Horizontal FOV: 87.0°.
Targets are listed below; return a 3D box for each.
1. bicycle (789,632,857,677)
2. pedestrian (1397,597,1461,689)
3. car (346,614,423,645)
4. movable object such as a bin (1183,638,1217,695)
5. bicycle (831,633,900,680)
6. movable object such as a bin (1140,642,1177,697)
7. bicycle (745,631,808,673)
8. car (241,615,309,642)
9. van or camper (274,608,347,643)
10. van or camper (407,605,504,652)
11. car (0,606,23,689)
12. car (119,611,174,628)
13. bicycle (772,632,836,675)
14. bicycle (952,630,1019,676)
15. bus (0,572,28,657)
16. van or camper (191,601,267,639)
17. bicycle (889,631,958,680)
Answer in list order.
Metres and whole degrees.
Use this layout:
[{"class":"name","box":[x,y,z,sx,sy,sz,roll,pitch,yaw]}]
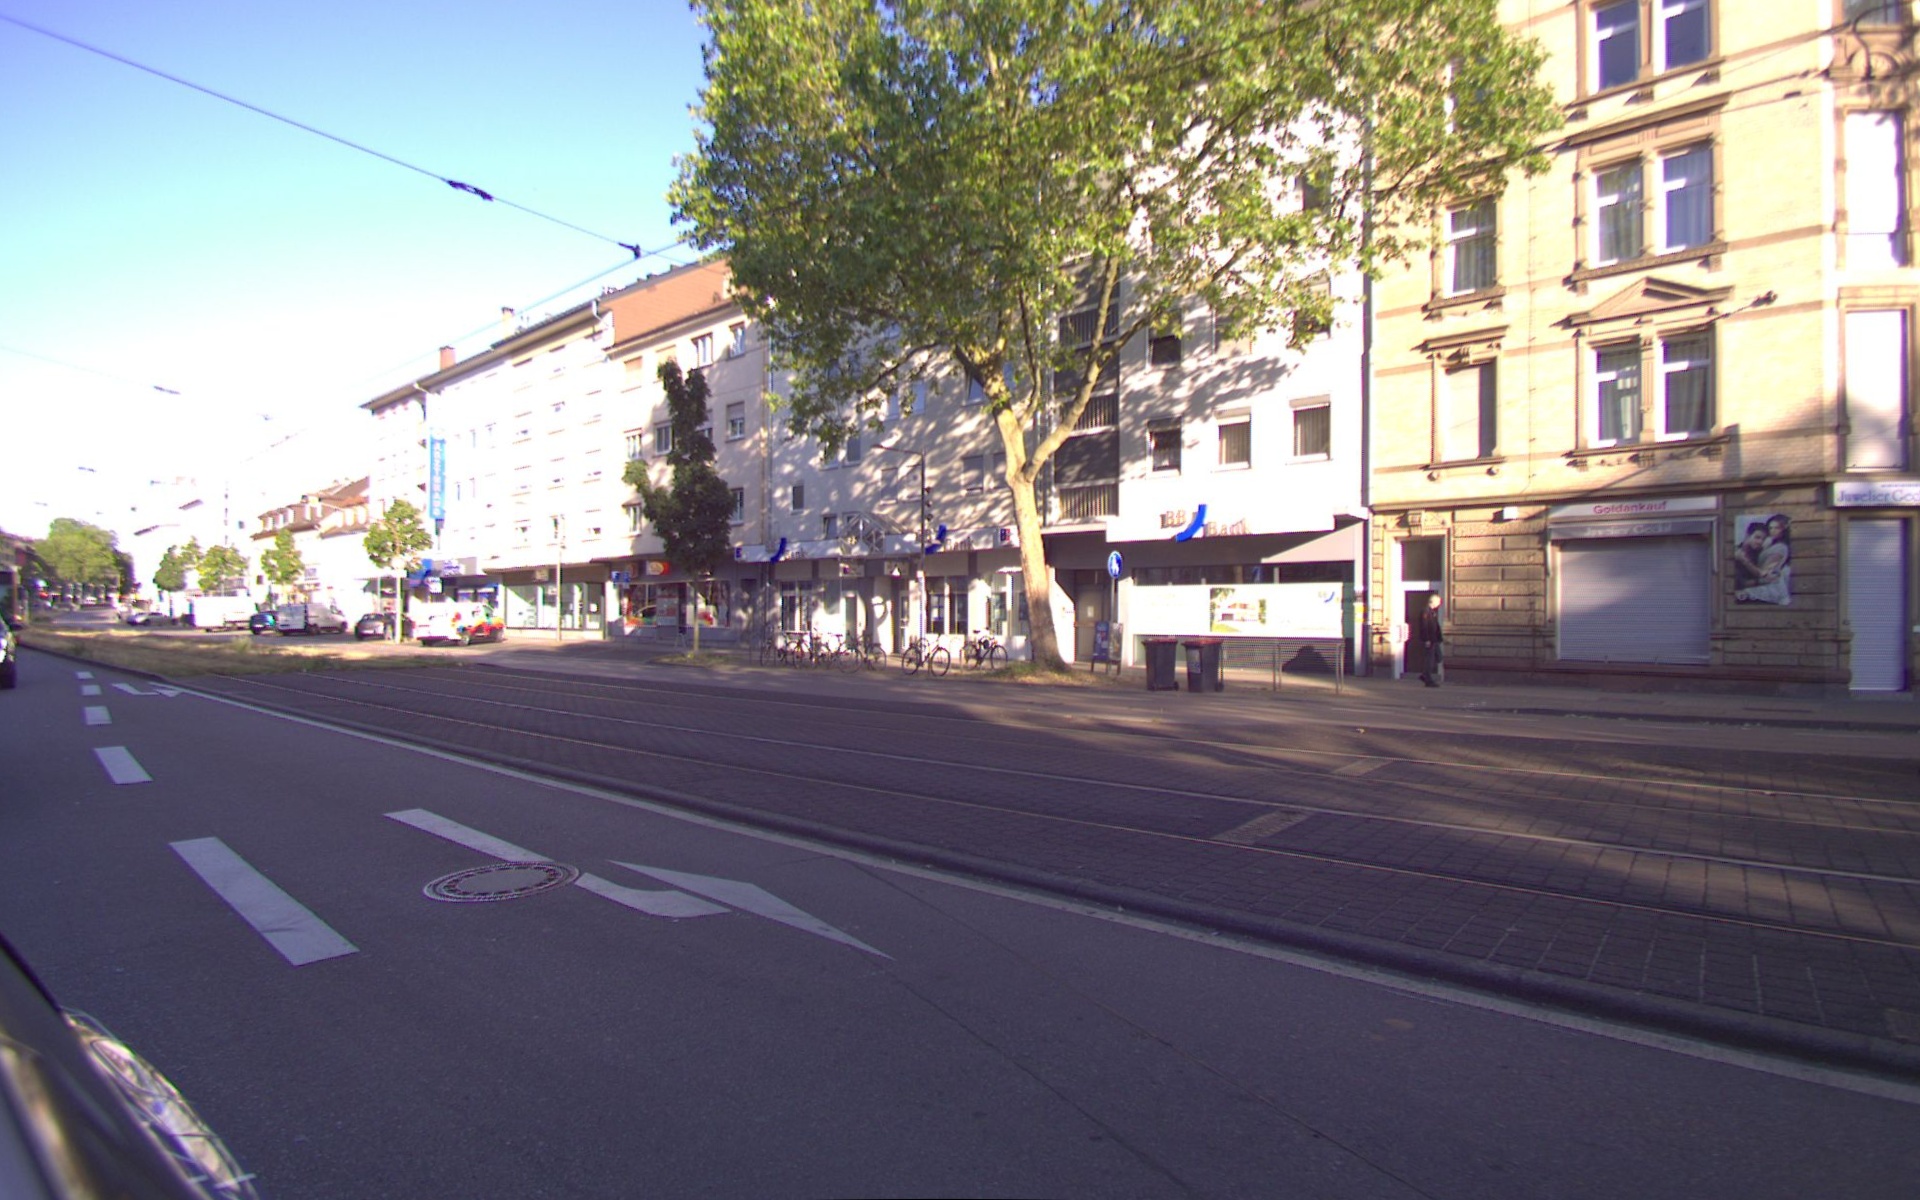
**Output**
[{"class":"bicycle","box":[-3.735,1.469,27.712,0.652,1.133,1.874,-1,-1,41]},{"class":"pedestrian","box":[9.468,0.853,20.436,0.611,1.801,0.972,-1,0,-42]},{"class":"car","box":[-30.541,1.533,53.851,1.743,1.501,4.455,-1,0,-4]},{"class":"movable object such as a bin","box":[4.739,1.295,19.975,0.470,1.102,0.575,0,-2,-7]},{"class":"bicycle","box":[-2.460,1.452,26.564,0.652,1.133,1.874,-1,-1,41]},{"class":"movable object such as a bin","box":[4.013,1.398,20.475,0.537,1.102,0.648,0,-2,-7]},{"class":"bicycle","box":[-5.262,1.483,29.089,0.534,1.133,1.874,-1,-1,41]},{"class":"car","box":[-45.724,1.869,67.654,1.853,1.598,4.000,-1,0,-1]},{"class":"van or camper","box":[-40.477,1.548,63.166,1.774,2.004,4.453,-1,0,-2]},{"class":"van or camper","box":[-22.652,1.232,45.639,1.924,1.912,4.814,-1,0,0]},{"class":"car","box":[-19.981,0.921,20.312,1.635,1.593,4.003,1,-1,-44]},{"class":"car","box":[-81.192,1.957,101.037,1.756,1.501,3.890,-1,0,20]},{"class":"bicycle","box":[-4.328,1.473,28.252,0.534,1.133,1.874,-1,-1,41]},{"class":"bicycle","box":[0.640,1.341,26.070,1.912,1.133,0.502,-1,-1,45]},{"class":"bus","box":[-38.753,0.492,39.285,12.241,3.001,2.833,0,1,43]},{"class":"van or camper","box":[-55.754,1.472,77.364,1.968,2.687,6.411,-1,0,-9]},{"class":"bicycle","box":[-0.913,1.332,24.627,1.912,1.133,0.502,-1,-1,45]}]
